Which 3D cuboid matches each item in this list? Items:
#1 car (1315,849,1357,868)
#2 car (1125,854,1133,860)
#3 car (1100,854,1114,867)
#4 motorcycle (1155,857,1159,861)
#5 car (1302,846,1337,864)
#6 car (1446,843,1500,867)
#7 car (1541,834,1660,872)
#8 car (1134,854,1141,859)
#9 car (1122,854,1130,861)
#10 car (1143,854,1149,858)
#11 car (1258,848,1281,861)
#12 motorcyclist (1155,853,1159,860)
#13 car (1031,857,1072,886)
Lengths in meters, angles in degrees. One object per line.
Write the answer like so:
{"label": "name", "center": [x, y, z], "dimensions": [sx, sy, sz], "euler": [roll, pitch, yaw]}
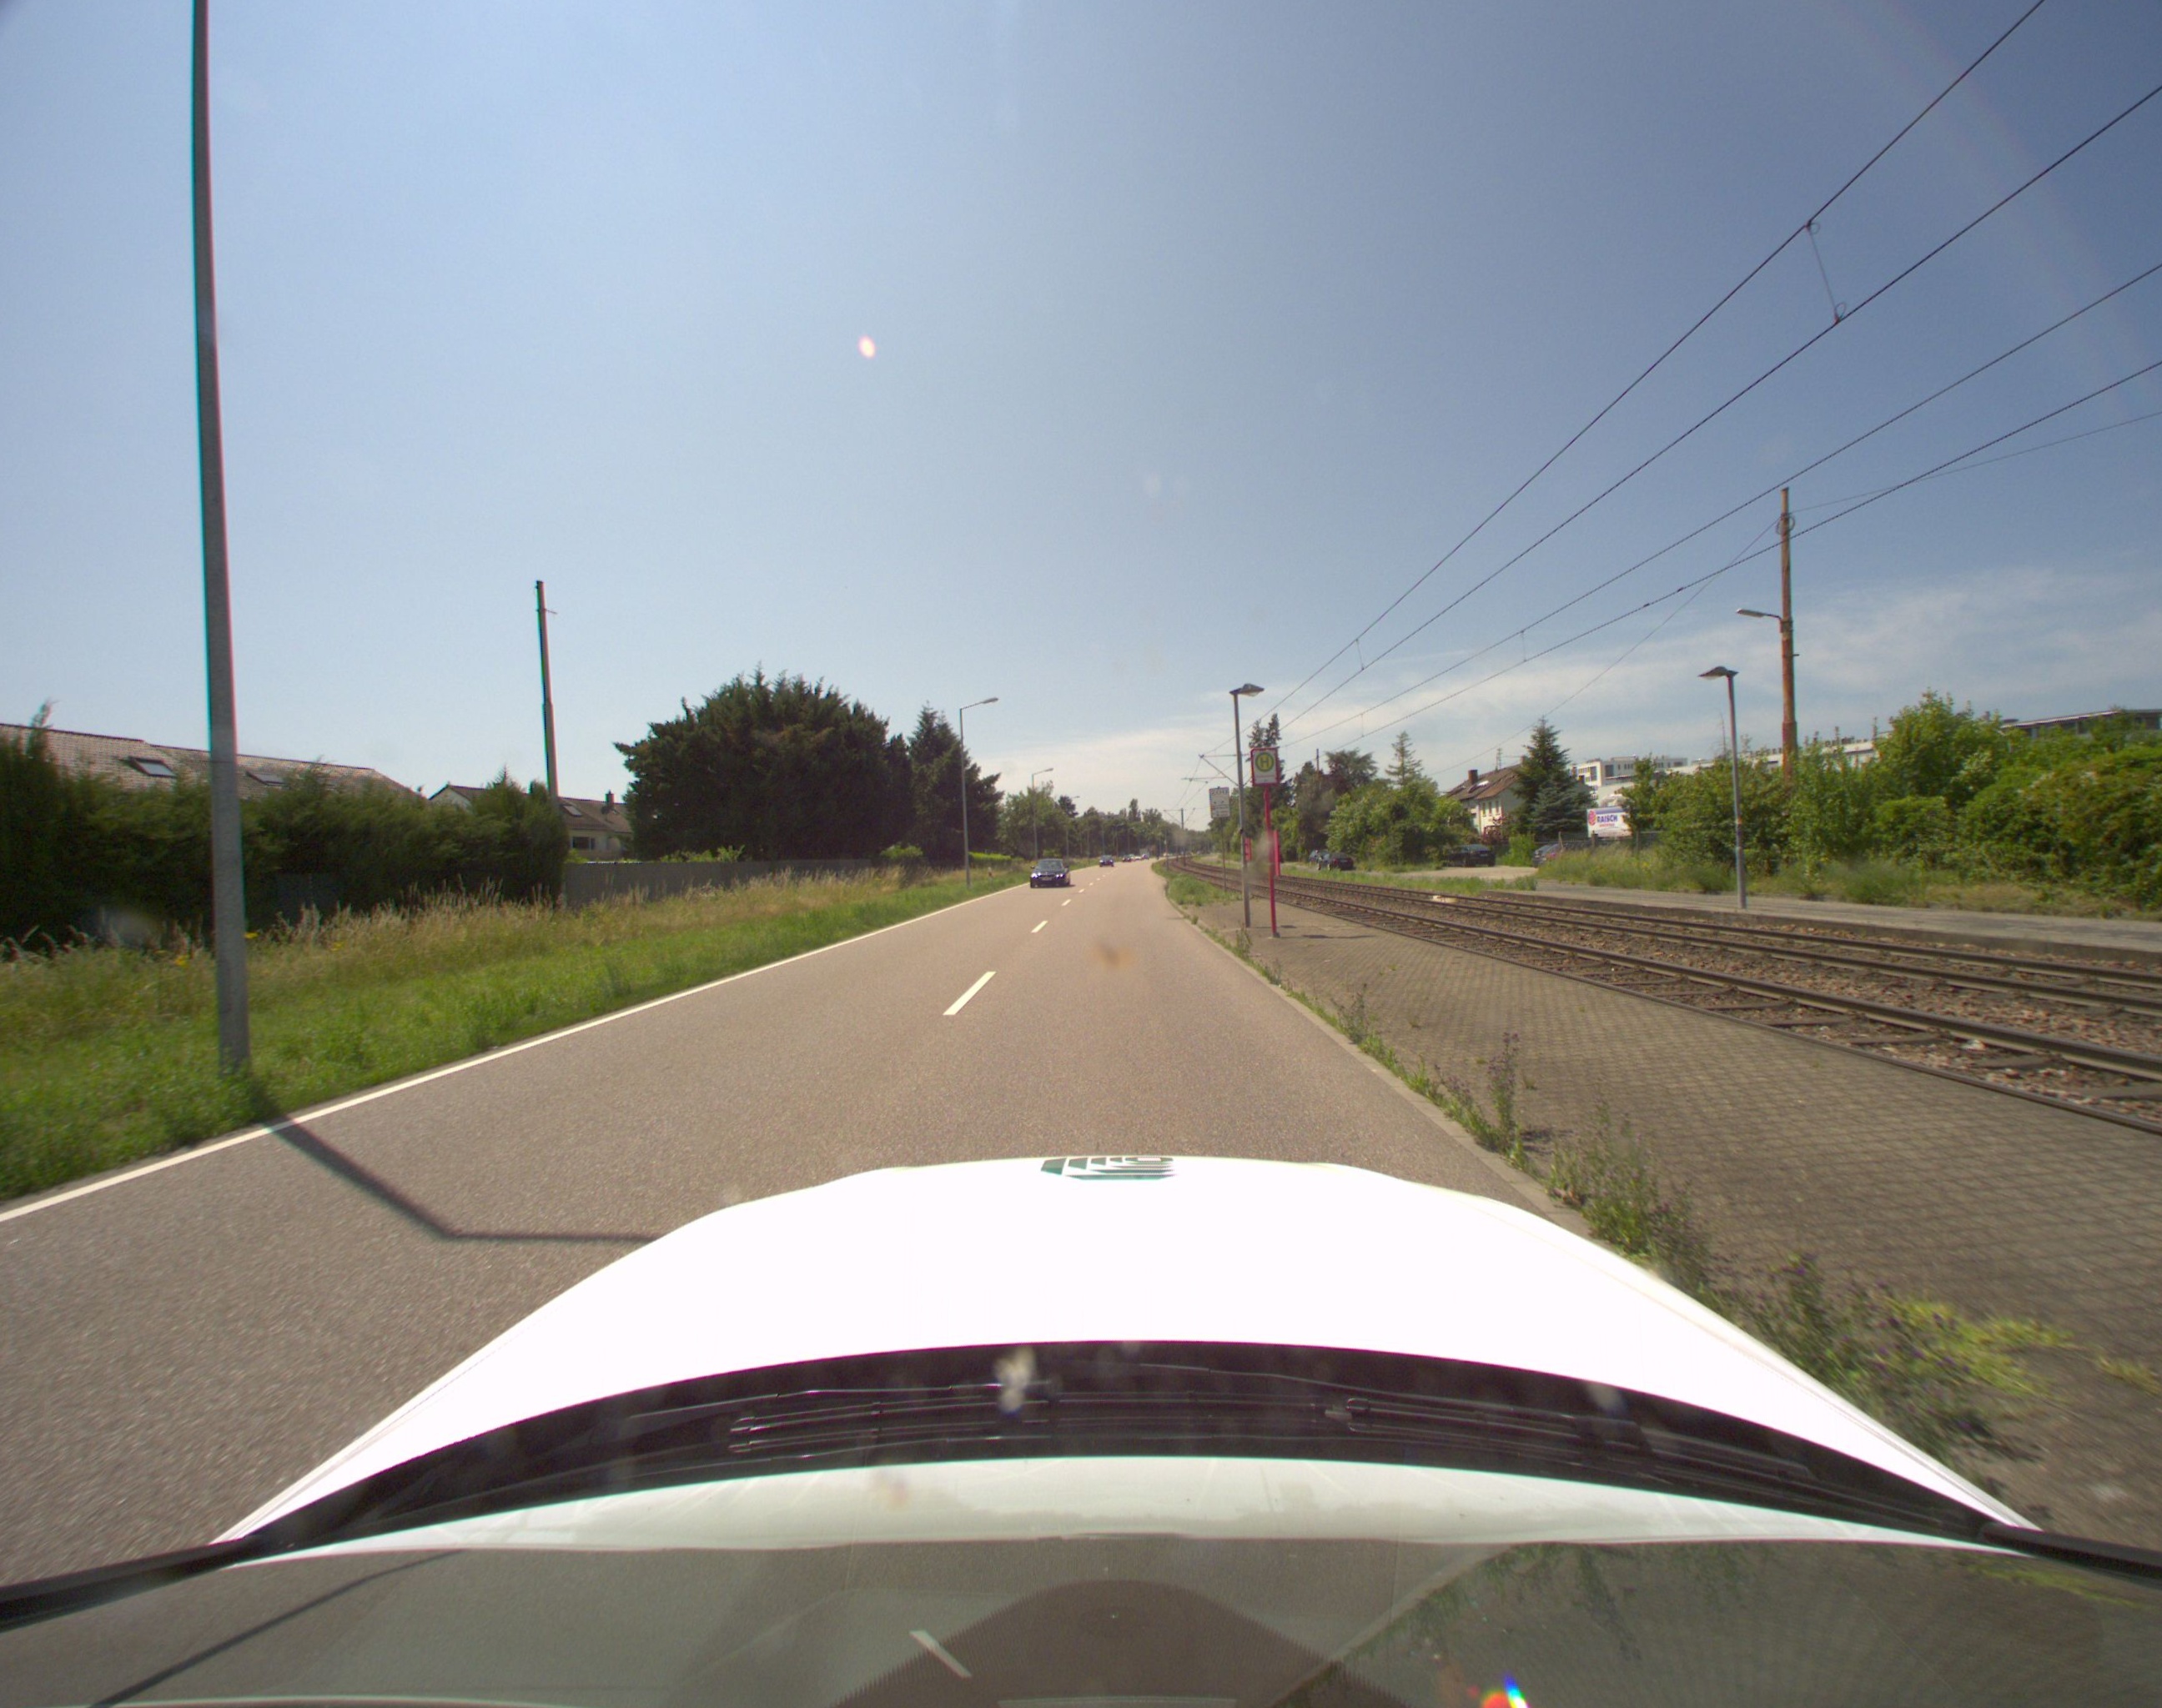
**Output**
{"label": "car", "center": [19.045, 0.319, 61.008], "dimensions": [1.854, 1.330, 4.517], "euler": [-2, 0, 2]}
{"label": "car", "center": [11.014, 0.677, 186.948], "dimensions": [1.739, 1.503, 3.712], "euler": [-2, 0, 4]}
{"label": "car", "center": [3.543, 0.898, 112.354], "dimensions": [1.739, 1.632, 4.034], "euler": [-2, 0, 4]}
{"label": "motorcycle", "center": [20.253, 1.298, 217.598], "dimensions": [0.964, 1.117, 2.739], "euler": [-2, 0, 9]}
{"label": "car", "center": [21.778, 0.094, 74.522], "dimensions": [1.927, 1.561, 4.558], "euler": [-2, 0, 2]}
{"label": "car", "center": [24.868, 0.049, 51.831], "dimensions": [1.714, 1.419, 3.741], "euler": [-2, 0, 2]}
{"label": "car", "center": [22.872, -0.038, 35.999], "dimensions": [3.964, 1.517, 1.903], "euler": [-2, 0, 8]}
{"label": "car", "center": [14.308, 0.702, 206.580], "dimensions": [1.674, 1.249, 3.914], "euler": [-2, 0, 5]}
{"label": "car", "center": [9.410, 0.709, 170.312], "dimensions": [1.692, 1.491, 4.446], "euler": [-2, 0, 4]}
{"label": "car", "center": [17.953, 0.557, 225.161], "dimensions": [1.741, 1.301, 4.259], "euler": [-2, 0, 5]}
{"label": "car", "center": [21.728, 0.073, 93.955], "dimensions": [1.905, 1.470, 4.005], "euler": [-2, 0, 4]}
{"label": "motorcyclist", "center": [20.195, 0.677, 217.312], "dimensions": [0.886, 1.905, 1.018], "euler": [-2, -1, 8]}
{"label": "car", "center": [-1.506, 0.880, 42.668], "dimensions": [1.699, 1.404, 4.711], "euler": [-2, 0, 3]}
